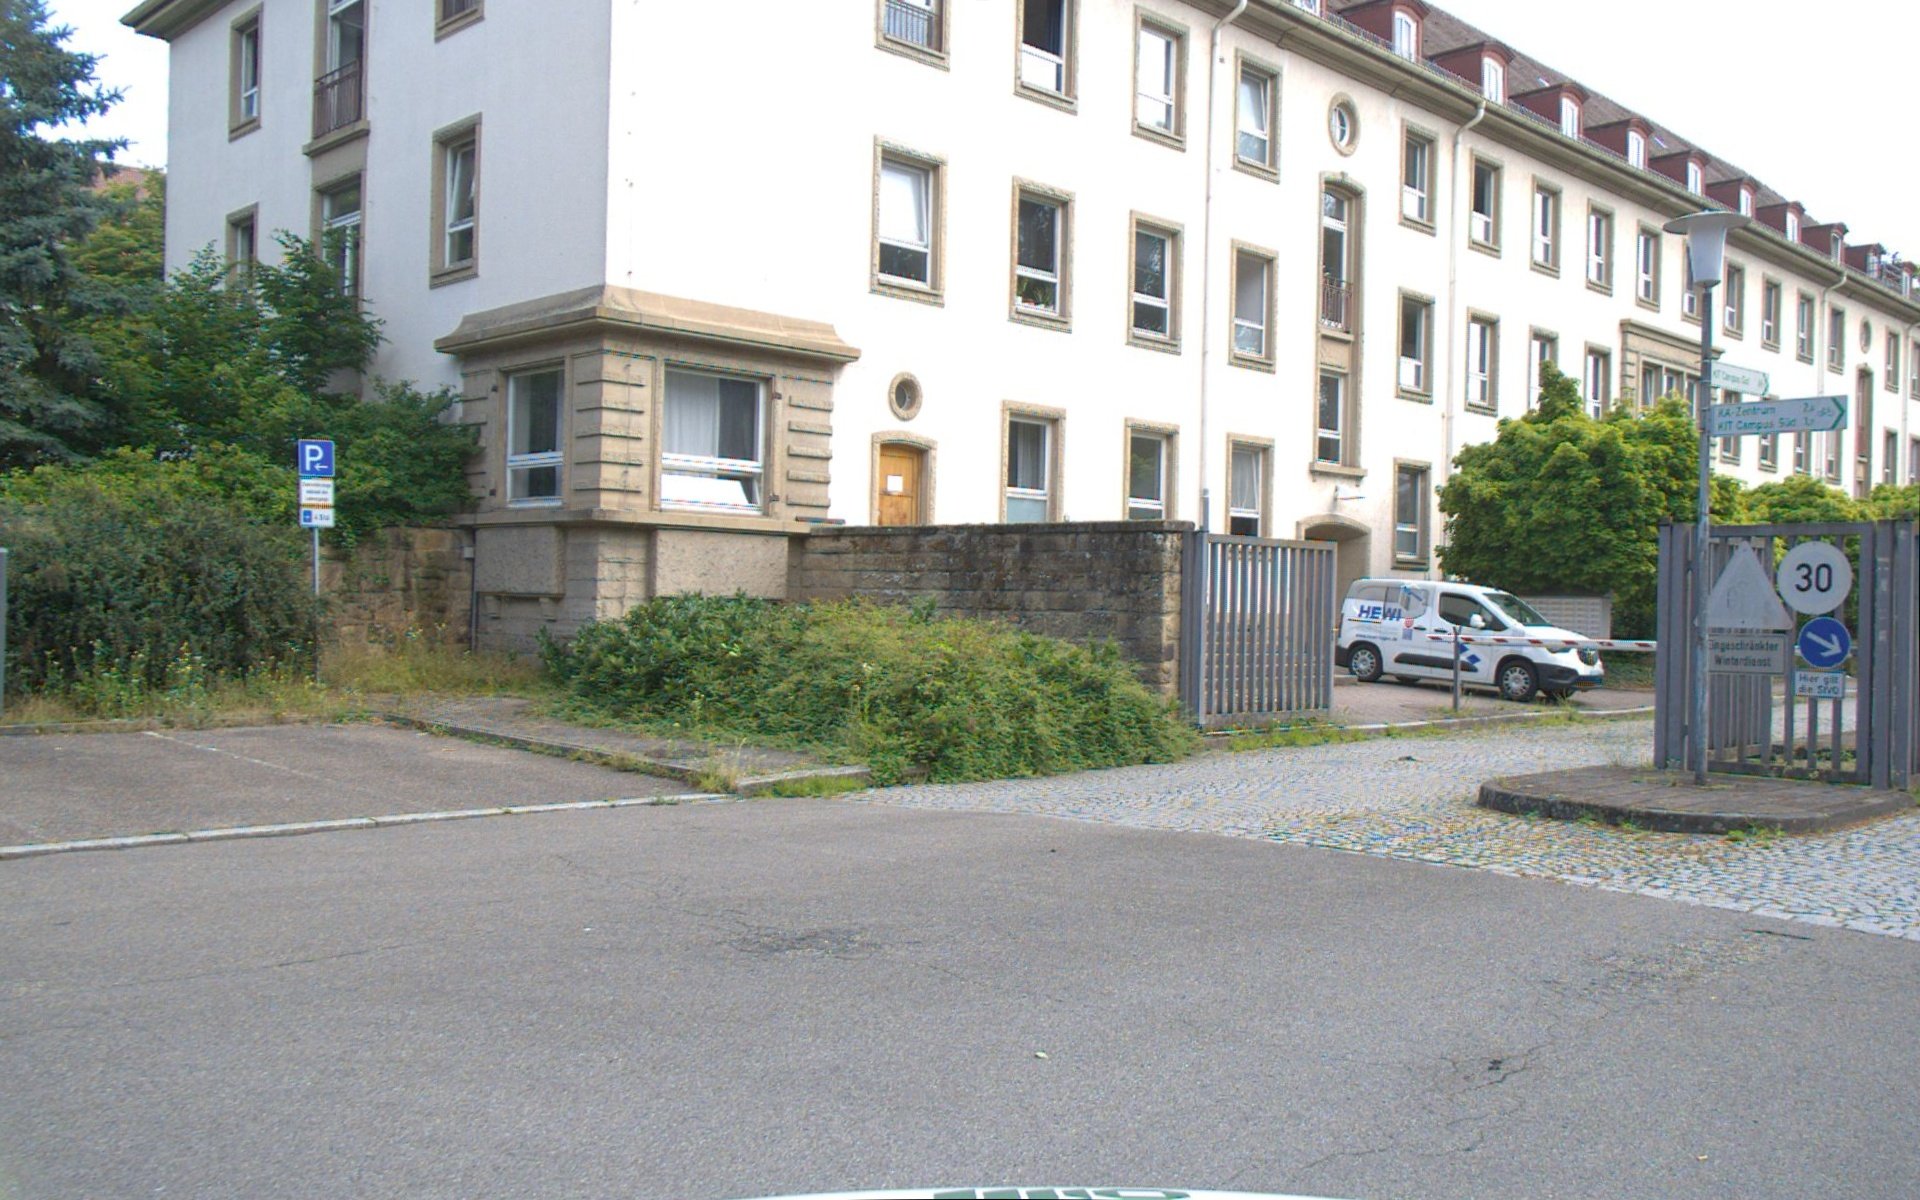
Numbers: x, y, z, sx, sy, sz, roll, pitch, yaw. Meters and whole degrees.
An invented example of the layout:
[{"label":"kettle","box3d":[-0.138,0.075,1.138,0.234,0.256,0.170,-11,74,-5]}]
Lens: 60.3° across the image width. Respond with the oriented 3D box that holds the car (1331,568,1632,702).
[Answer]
[{"label":"car","box3d":[8.672,0.519,27.757,4.375,1.781,1.847,6,4,43]}]
